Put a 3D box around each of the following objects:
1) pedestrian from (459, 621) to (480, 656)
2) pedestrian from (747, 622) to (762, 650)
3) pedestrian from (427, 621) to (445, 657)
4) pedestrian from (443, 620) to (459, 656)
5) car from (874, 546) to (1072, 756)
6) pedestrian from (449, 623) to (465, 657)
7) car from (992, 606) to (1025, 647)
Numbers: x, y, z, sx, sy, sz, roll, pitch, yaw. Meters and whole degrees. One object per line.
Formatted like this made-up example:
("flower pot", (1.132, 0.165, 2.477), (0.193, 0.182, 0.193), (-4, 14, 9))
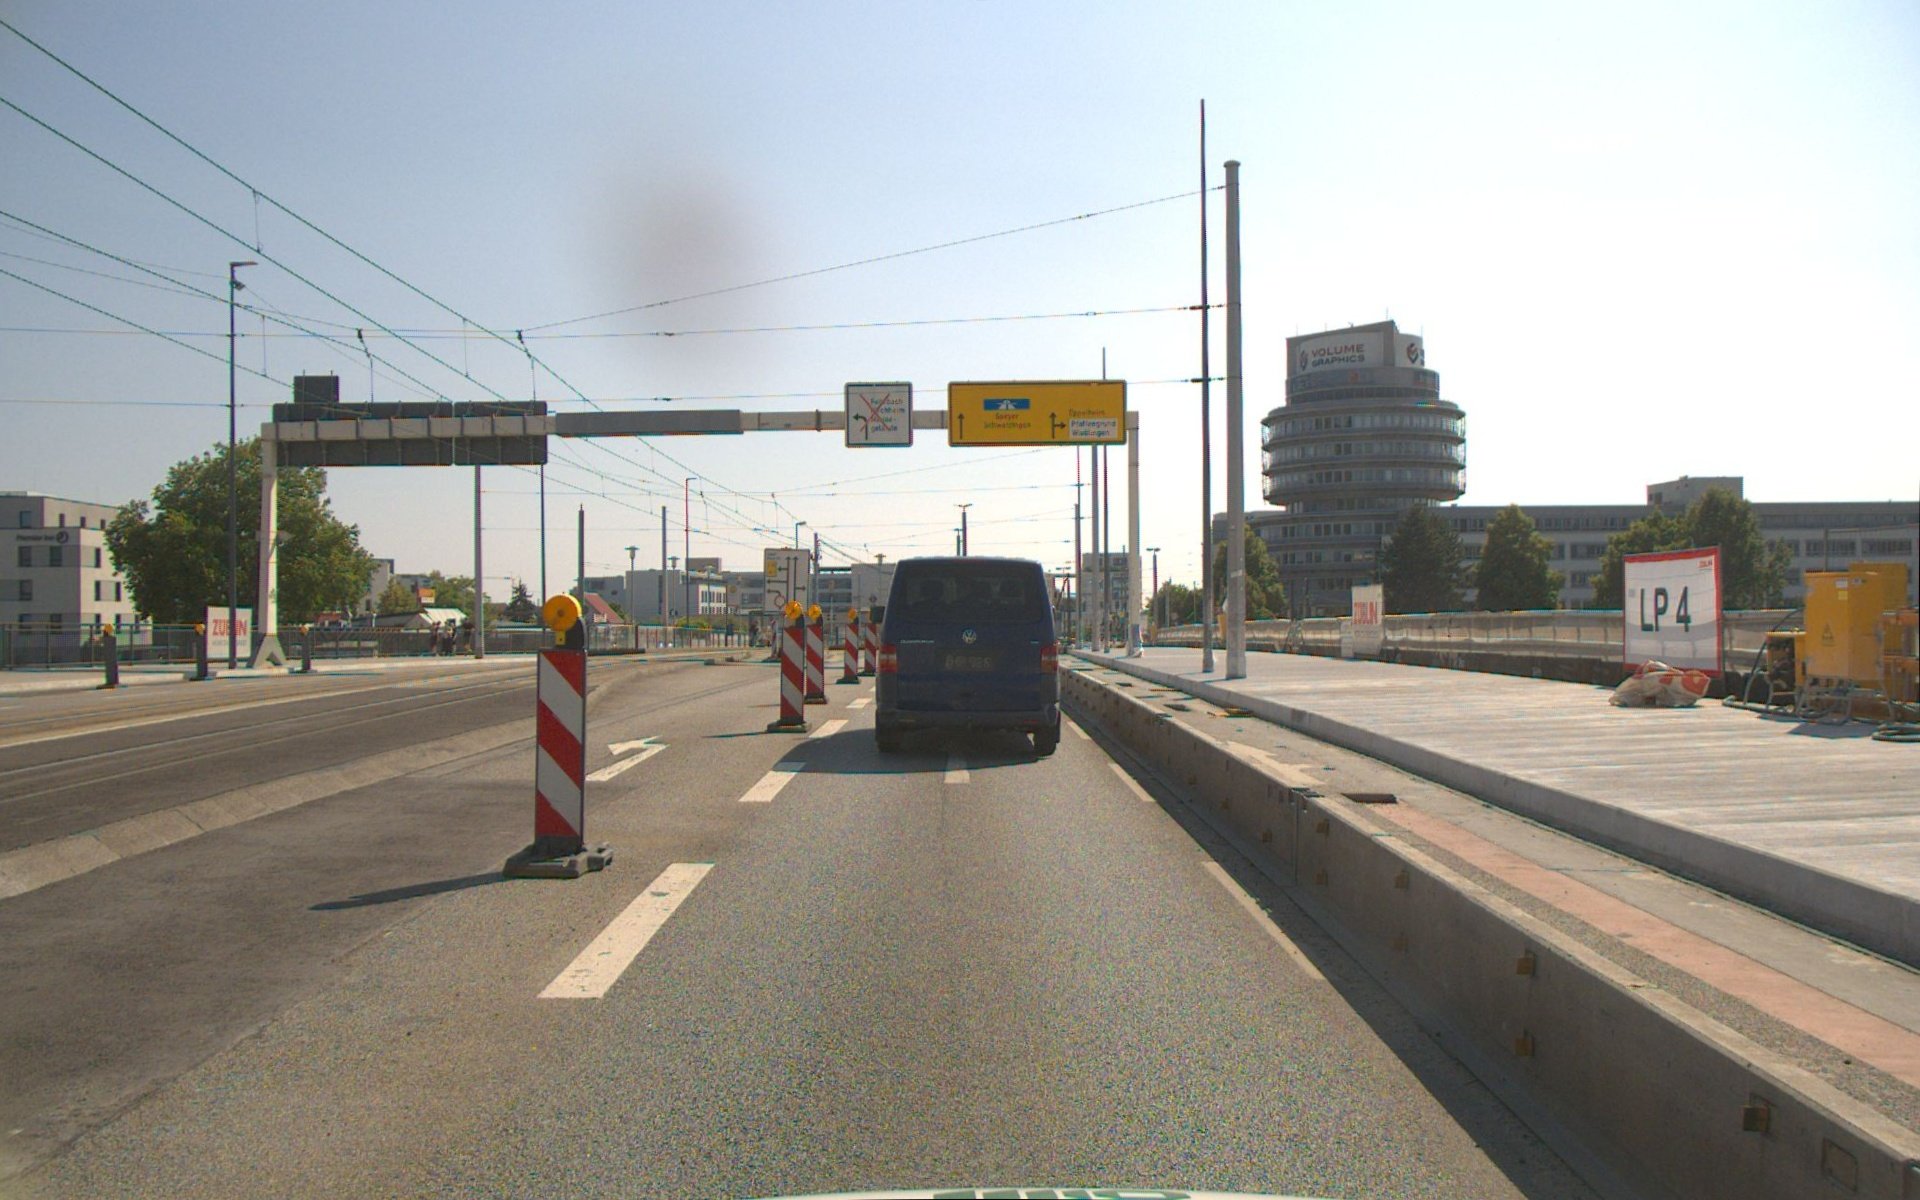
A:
("pedestrian", (-24.314, 1.887, 81.983), (0.737, 1.717, 0.732), (-1, -1, 3))
("pedestrian", (-12.303, 2.148, 99.137), (0.646, 1.683, 0.740), (-1, -1, 14))
("pedestrian", (-25.142, 1.863, 79.365), (0.585, 1.717, 0.818), (-1, -1, 3))
("pedestrian", (-24.551, 1.850, 79.841), (0.476, 1.717, 0.808), (-1, -1, 3))
("car", (0.100, 0.505, 17.707), (1.849, 1.968, 3.999), (1, -1, -1))
("pedestrian", (-25.088, 1.991, 82.517), (0.493, 1.717, 0.773), (-1, -1, 3))
("car", (3.602, 1.952, 123.918), (2.290, 2.938, 5.970), (1, -1, 1))
